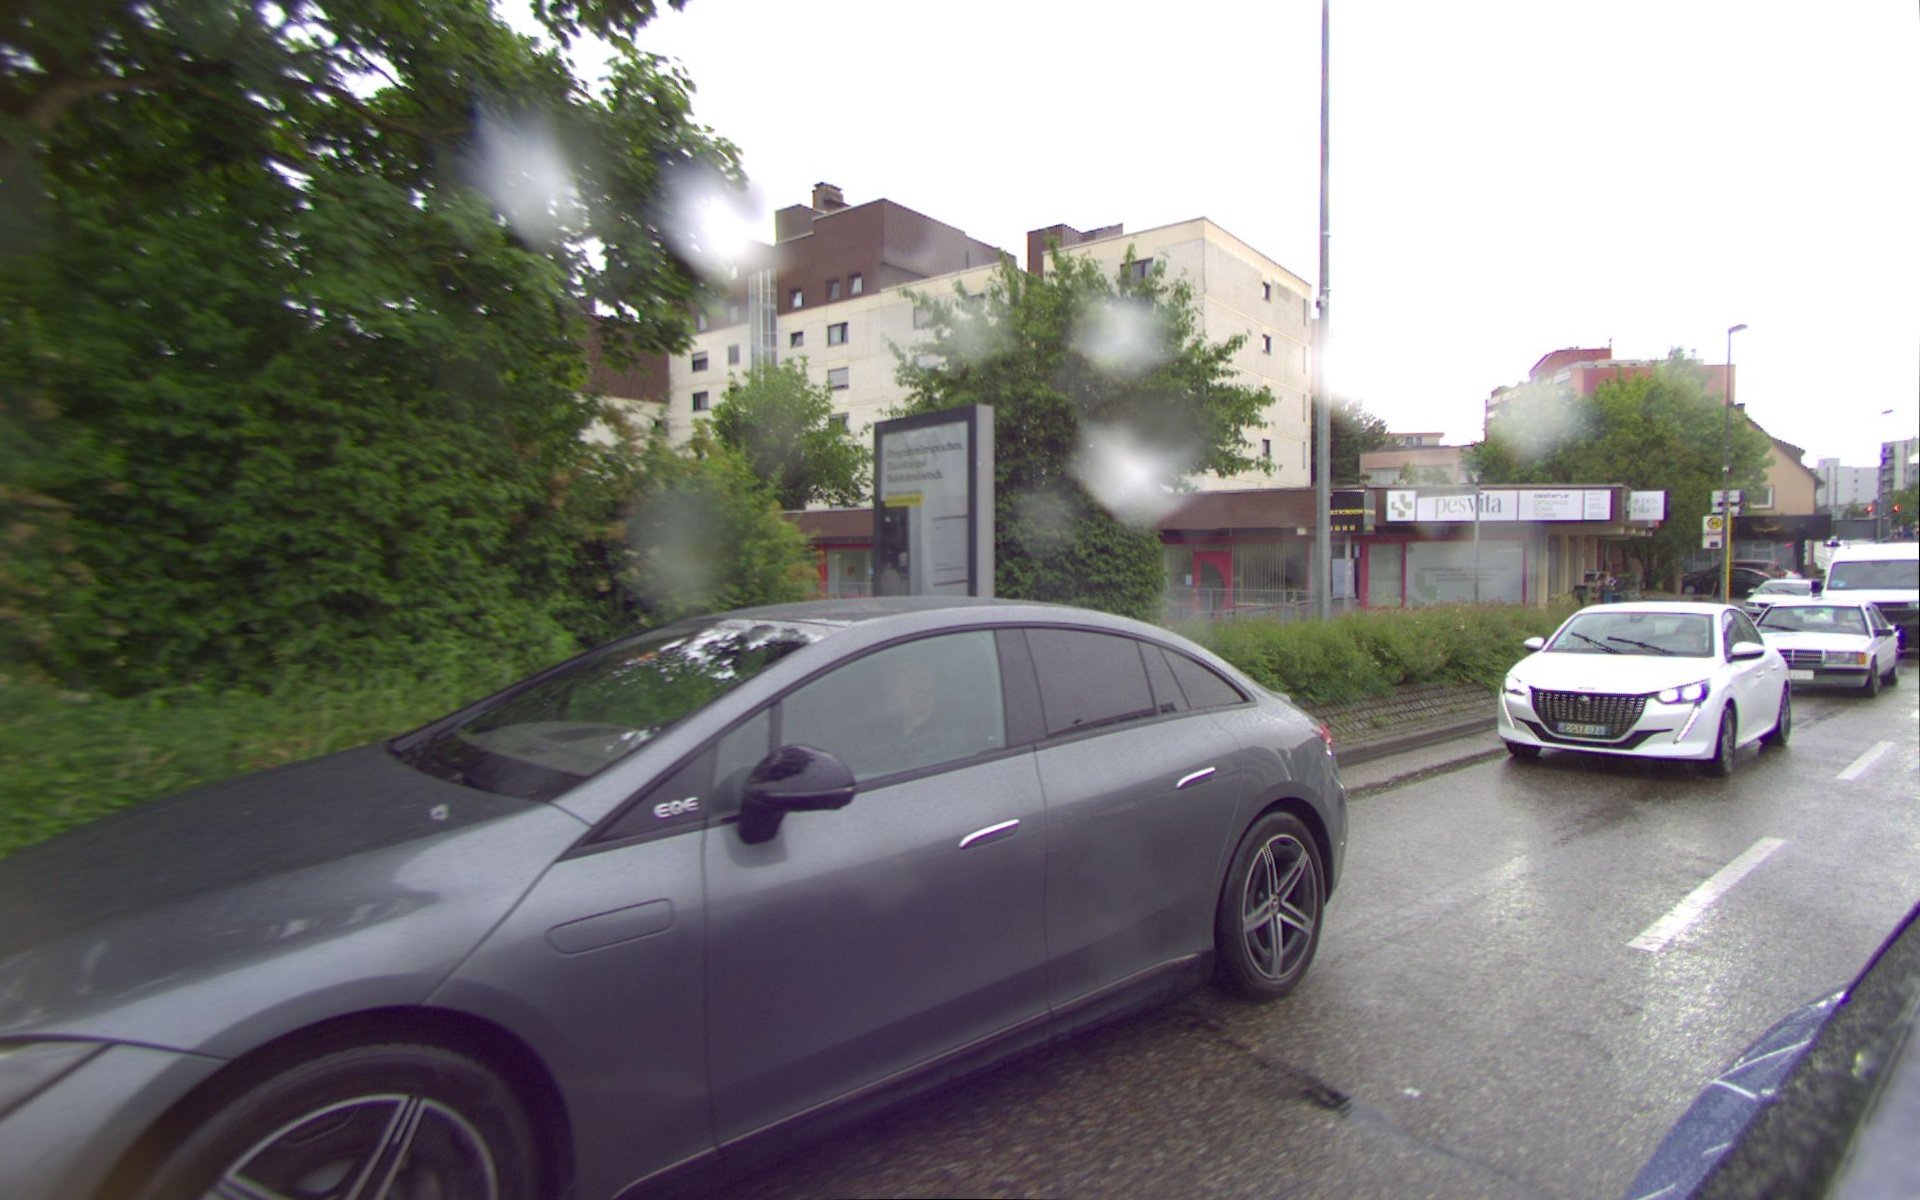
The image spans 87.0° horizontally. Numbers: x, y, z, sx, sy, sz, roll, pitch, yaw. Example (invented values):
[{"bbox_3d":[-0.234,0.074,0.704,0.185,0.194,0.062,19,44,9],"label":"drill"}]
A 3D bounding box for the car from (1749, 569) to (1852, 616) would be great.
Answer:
[{"bbox_3d":[27.592,-0.283,33.193,3.738,1.367,1.998,-1,4,-41],"label":"car"}]

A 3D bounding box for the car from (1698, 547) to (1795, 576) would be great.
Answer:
[{"bbox_3d":[41.474,-2.009,53.405,3.981,1.438,1.679,0,1,40],"label":"car"}]

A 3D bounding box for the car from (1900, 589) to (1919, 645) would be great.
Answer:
[{"bbox_3d":[27.778,0.413,28.392,3.613,1.505,1.640,-1,-3,-41],"label":"car"}]

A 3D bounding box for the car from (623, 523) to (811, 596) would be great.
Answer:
[{"bbox_3d":[-8.486,-1.445,36.251,2.773,2.300,6.701,3,3,28],"label":"car"}]

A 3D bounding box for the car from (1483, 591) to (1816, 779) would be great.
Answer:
[{"bbox_3d":[6.736,0.639,9.732,3.966,1.415,1.716,-1,0,-41],"label":"car"}]

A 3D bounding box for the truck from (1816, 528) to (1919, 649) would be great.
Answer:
[{"bbox_3d":[21.532,-0.292,23.118,6.092,2.470,2.167,-1,1,-41],"label":"truck"}]

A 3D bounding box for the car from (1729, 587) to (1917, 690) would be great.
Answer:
[{"bbox_3d":[13.437,0.511,15.698,3.670,1.394,1.716,-1,0,-41],"label":"car"}]

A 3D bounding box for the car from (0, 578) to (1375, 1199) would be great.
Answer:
[{"bbox_3d":[-0.536,0.682,3.459,4.472,1.462,1.834,-1,0,-41],"label":"car"}]

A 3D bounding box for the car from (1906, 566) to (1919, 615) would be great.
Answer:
[{"bbox_3d":[32.590,-0.272,33.261,3.934,1.571,1.995,1,0,-44],"label":"car"}]

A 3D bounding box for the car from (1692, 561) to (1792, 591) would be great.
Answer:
[{"bbox_3d":[39.952,-1.200,51.742,3.980,1.438,1.972,0,1,40],"label":"car"}]
